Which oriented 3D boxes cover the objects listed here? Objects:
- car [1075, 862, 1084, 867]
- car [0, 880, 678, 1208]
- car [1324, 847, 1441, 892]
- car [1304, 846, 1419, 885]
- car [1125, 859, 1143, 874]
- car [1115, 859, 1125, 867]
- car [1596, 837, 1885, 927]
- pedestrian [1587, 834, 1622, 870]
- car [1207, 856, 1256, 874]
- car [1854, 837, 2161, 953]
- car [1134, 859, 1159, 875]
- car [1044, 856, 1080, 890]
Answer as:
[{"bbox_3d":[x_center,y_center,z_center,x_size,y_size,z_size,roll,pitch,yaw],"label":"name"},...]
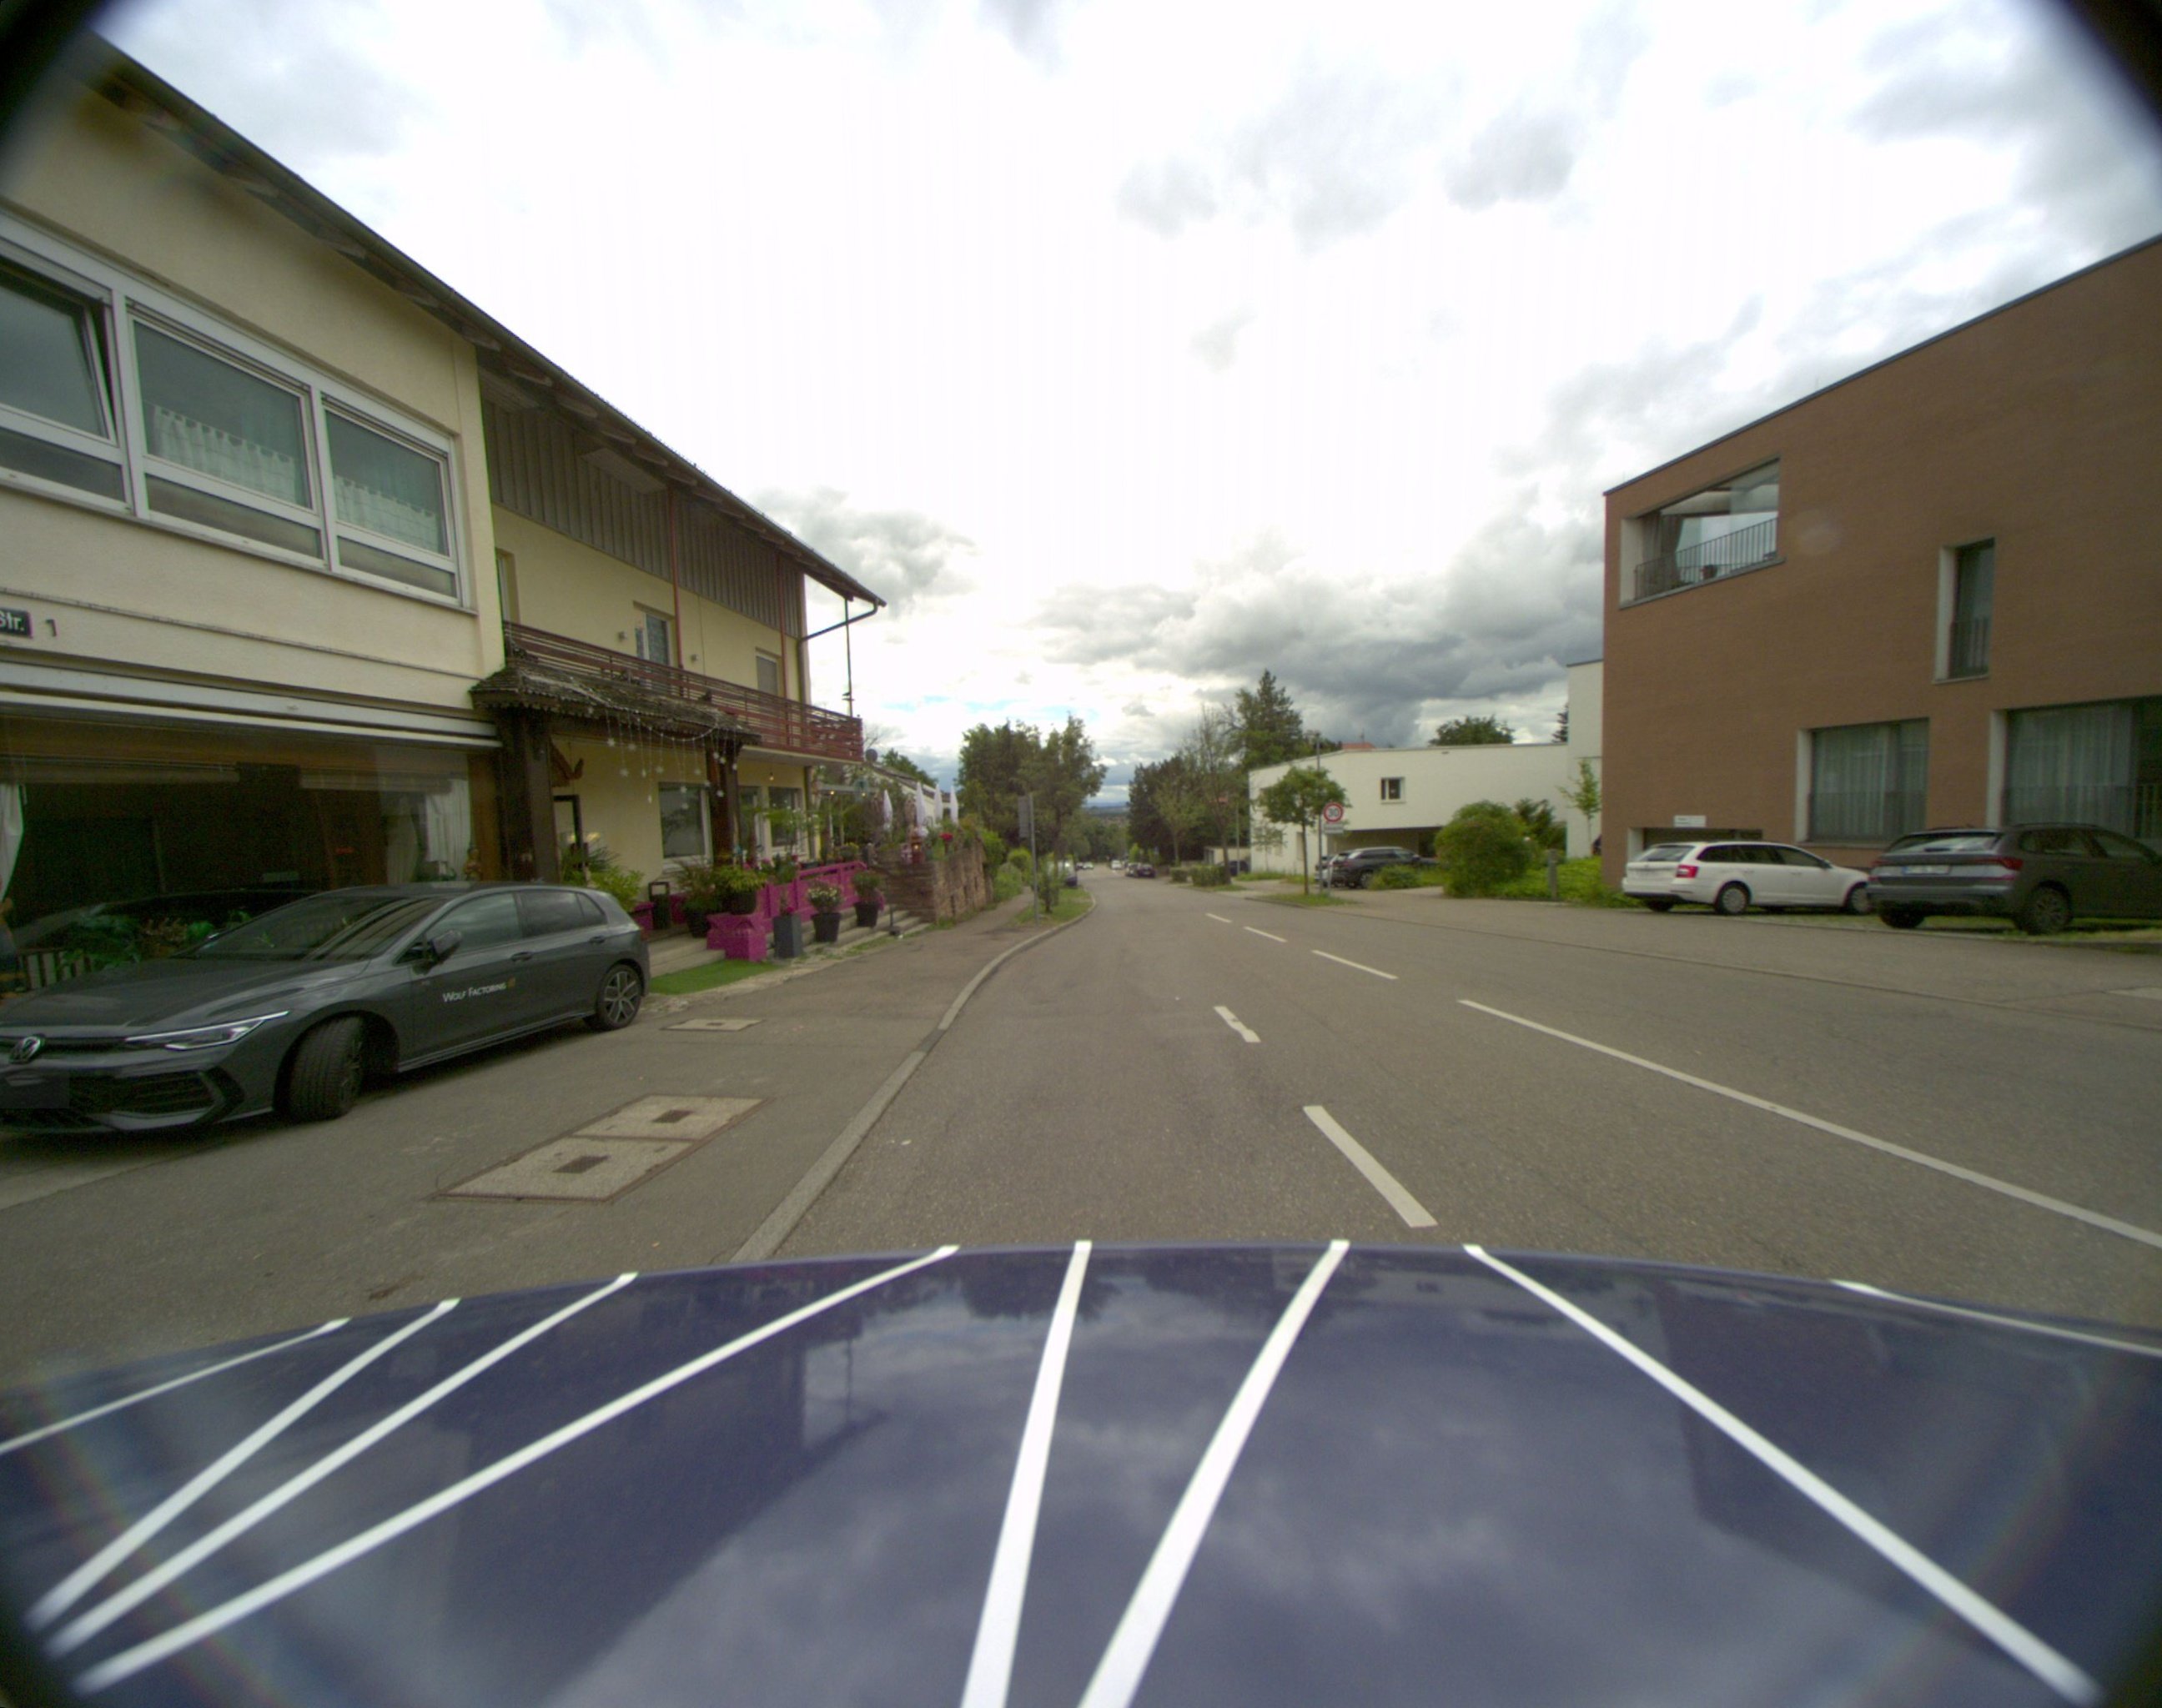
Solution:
[{"bbox_3d":[-0.296,2.479,178.535,1.998,1.221,4.000,-2,0,2],"label":"car"},{"bbox_3d":[-5.365,1.028,6.017,1.852,1.464,4.386,0,0,3],"label":"car"},{"bbox_3d":[12.394,0.628,31.446,3.997,1.644,2.008,-3,0,0],"label":"car"},{"bbox_3d":[12.565,0.508,34.244,4.398,1.557,2.066,-1,0,-3],"label":"car"},{"bbox_3d":[5.765,1.321,83.404,1.628,1.510,2.974,-2,0,-2],"label":"car"},{"bbox_3d":[6.701,1.558,131.932,1.693,1.411,3.580,0,0,2],"label":"car"},{"bbox_3d":[13.221,0.507,15.417,4.272,1.614,2.013,-1,1,-4],"label":"car"},{"bbox_3d":[19.415,-0.075,28.193,0.608,1.275,0.899,-3,0,-2],"label":"pedestrian"},{"bbox_3d":[13.031,0.940,65.824,3.805,1.346,1.741,-2,0,-5],"label":"car"},{"bbox_3d":[13.747,0.536,10.924,3.771,1.455,1.731,-1,-1,-7],"label":"car"},{"bbox_3d":[6.457,1.289,75.188,1.855,1.461,4.682,-1,0,-3],"label":"car"},{"bbox_3d":[-1.093,1.090,45.196,1.941,1.827,5.218,-2,0,-1],"label":"car"}]
